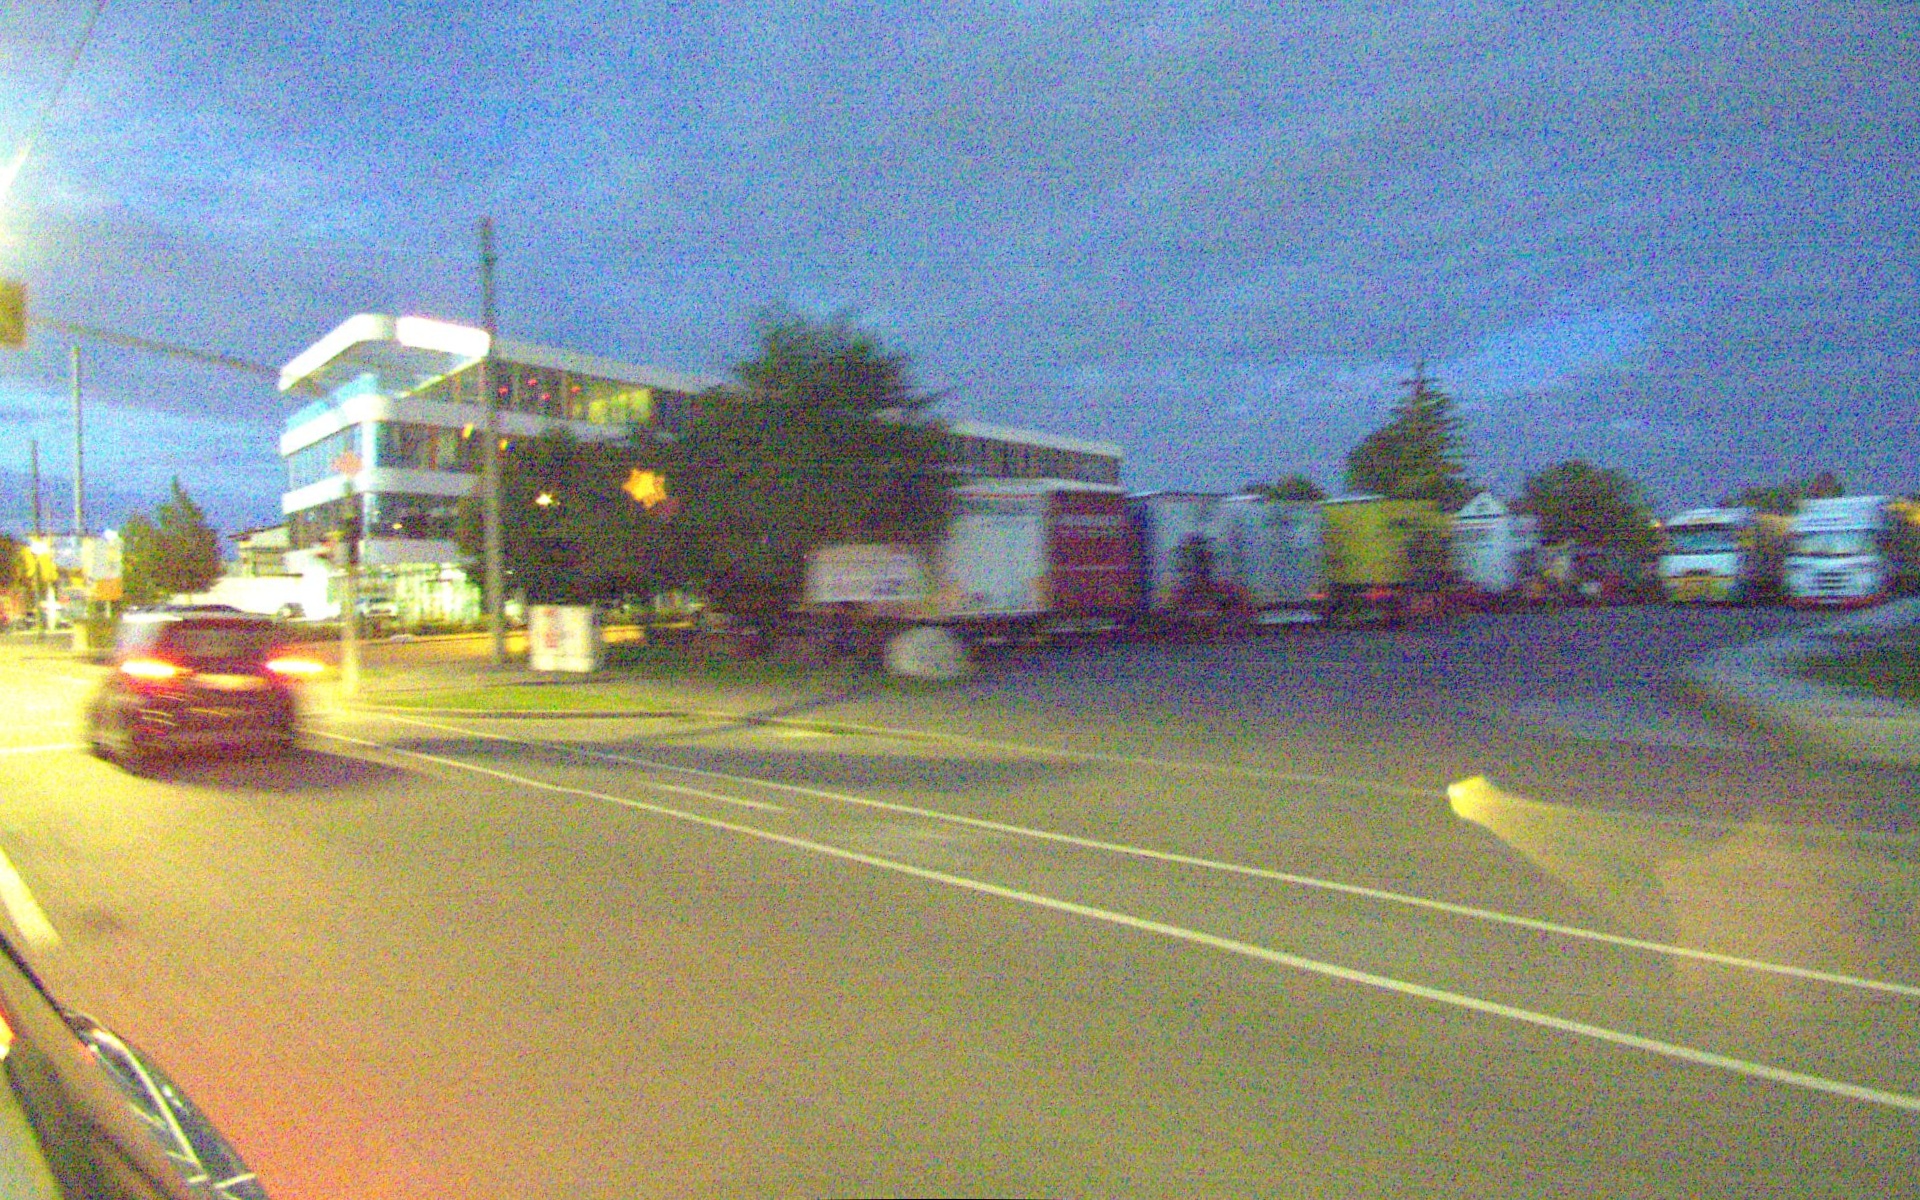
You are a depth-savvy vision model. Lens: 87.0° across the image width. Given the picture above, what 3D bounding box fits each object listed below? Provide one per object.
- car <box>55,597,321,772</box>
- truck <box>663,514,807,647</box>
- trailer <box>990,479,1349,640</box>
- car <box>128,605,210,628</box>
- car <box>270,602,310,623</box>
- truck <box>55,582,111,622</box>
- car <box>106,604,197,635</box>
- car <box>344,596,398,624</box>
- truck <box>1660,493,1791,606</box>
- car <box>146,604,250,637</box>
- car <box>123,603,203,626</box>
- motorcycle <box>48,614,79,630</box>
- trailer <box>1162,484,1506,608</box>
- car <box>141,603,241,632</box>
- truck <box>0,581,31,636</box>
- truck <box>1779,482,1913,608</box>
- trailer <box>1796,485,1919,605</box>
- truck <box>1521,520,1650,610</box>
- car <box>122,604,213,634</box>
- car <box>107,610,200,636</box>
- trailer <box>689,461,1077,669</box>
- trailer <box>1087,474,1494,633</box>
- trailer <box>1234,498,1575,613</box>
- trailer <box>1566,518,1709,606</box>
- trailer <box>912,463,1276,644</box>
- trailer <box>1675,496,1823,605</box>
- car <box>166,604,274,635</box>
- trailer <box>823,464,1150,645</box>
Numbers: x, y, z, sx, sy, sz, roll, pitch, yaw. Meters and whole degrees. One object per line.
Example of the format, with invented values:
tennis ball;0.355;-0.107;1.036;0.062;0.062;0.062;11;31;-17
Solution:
car;-8.274;0.810;10.796;2.955;1.588;1.679;-1;-2;41
truck;-7.392;-0.648;32.941;3.017;3.962;4.515;-3;1;-34
trailer;6.168;-1.187;34.877;3.015;4.390;15.050;-3;1;-28
car;-56.135;1.122;71.864;1.829;1.463;4.354;-1;1;45
car;-52.914;0.977;79.931;1.880;1.468;4.469;-3;2;-43
truck;-93.898;0.257;108.539;2.708;4.064;9.589;-1;0;-30
car;-51.775;1.235;64.879;1.963;1.829;4.354;-1;0;45
car;-37.268;0.607;63.992;1.971;1.654;4.206;-3;1;-44
truck;31.687;-1.986;41.827;6.403;4.267;2.976;-2;0;-41
car;-42.568;1.101;56.576;1.963;1.693;4.356;-1;1;43
car;-57.805;1.043;73.481;1.893;1.493;4.354;-1;1;45
motorcycle;-70.134;1.729;79.188;0.528;1.109;1.680;0;4;23
trailer;15.007;-1.982;43.169;3.016;4.390;15.047;-3;1;-31
car;-44.300;0.966;58.376;1.852;1.490;4.354;-1;1;45
truck;-76.193;0.704;80.061;2.735;4.151;9.364;-1;0;-35
truck;32.397;-1.913;36.976;4.661;4.267;2.976;-2;0;-41
trailer;37.219;-2.093;41.120;11.752;4.267;2.976;-2;0;-41
truck;28.931;-1.579;46.732;5.754;3.870;3.177;-2;0;-38
car;-52.780;1.230;67.424;1.963;1.829;4.555;-1;1;45
car;-48.843;1.361;61.361;1.829;1.404;4.218;-1;1;45
trailer;-3.045;-0.709;26.357;3.017;3.962;15.043;-3;1;-34
trailer;10.331;-1.349;35.123;3.016;4.390;15.048;-3;1;-31
trailer;19.132;-1.746;45.719;3.016;4.390;15.047;-3;1;-31
trailer;34.035;-1.828;50.681;9.111;4.041;3.102;-2;0;-37
trailer;3.179;-1.211;31.926;3.015;4.390;15.051;-3;1;-28
trailer;34.989;-2.075;44.664;11.030;4.267;2.976;-2;0;-41
car;-38.710;0.982;52.990;4.395;1.463;2.064;-2;1;-42
trailer;-0.171;-1.138;30.781;3.015;4.179;15.052;-3;1;-27
